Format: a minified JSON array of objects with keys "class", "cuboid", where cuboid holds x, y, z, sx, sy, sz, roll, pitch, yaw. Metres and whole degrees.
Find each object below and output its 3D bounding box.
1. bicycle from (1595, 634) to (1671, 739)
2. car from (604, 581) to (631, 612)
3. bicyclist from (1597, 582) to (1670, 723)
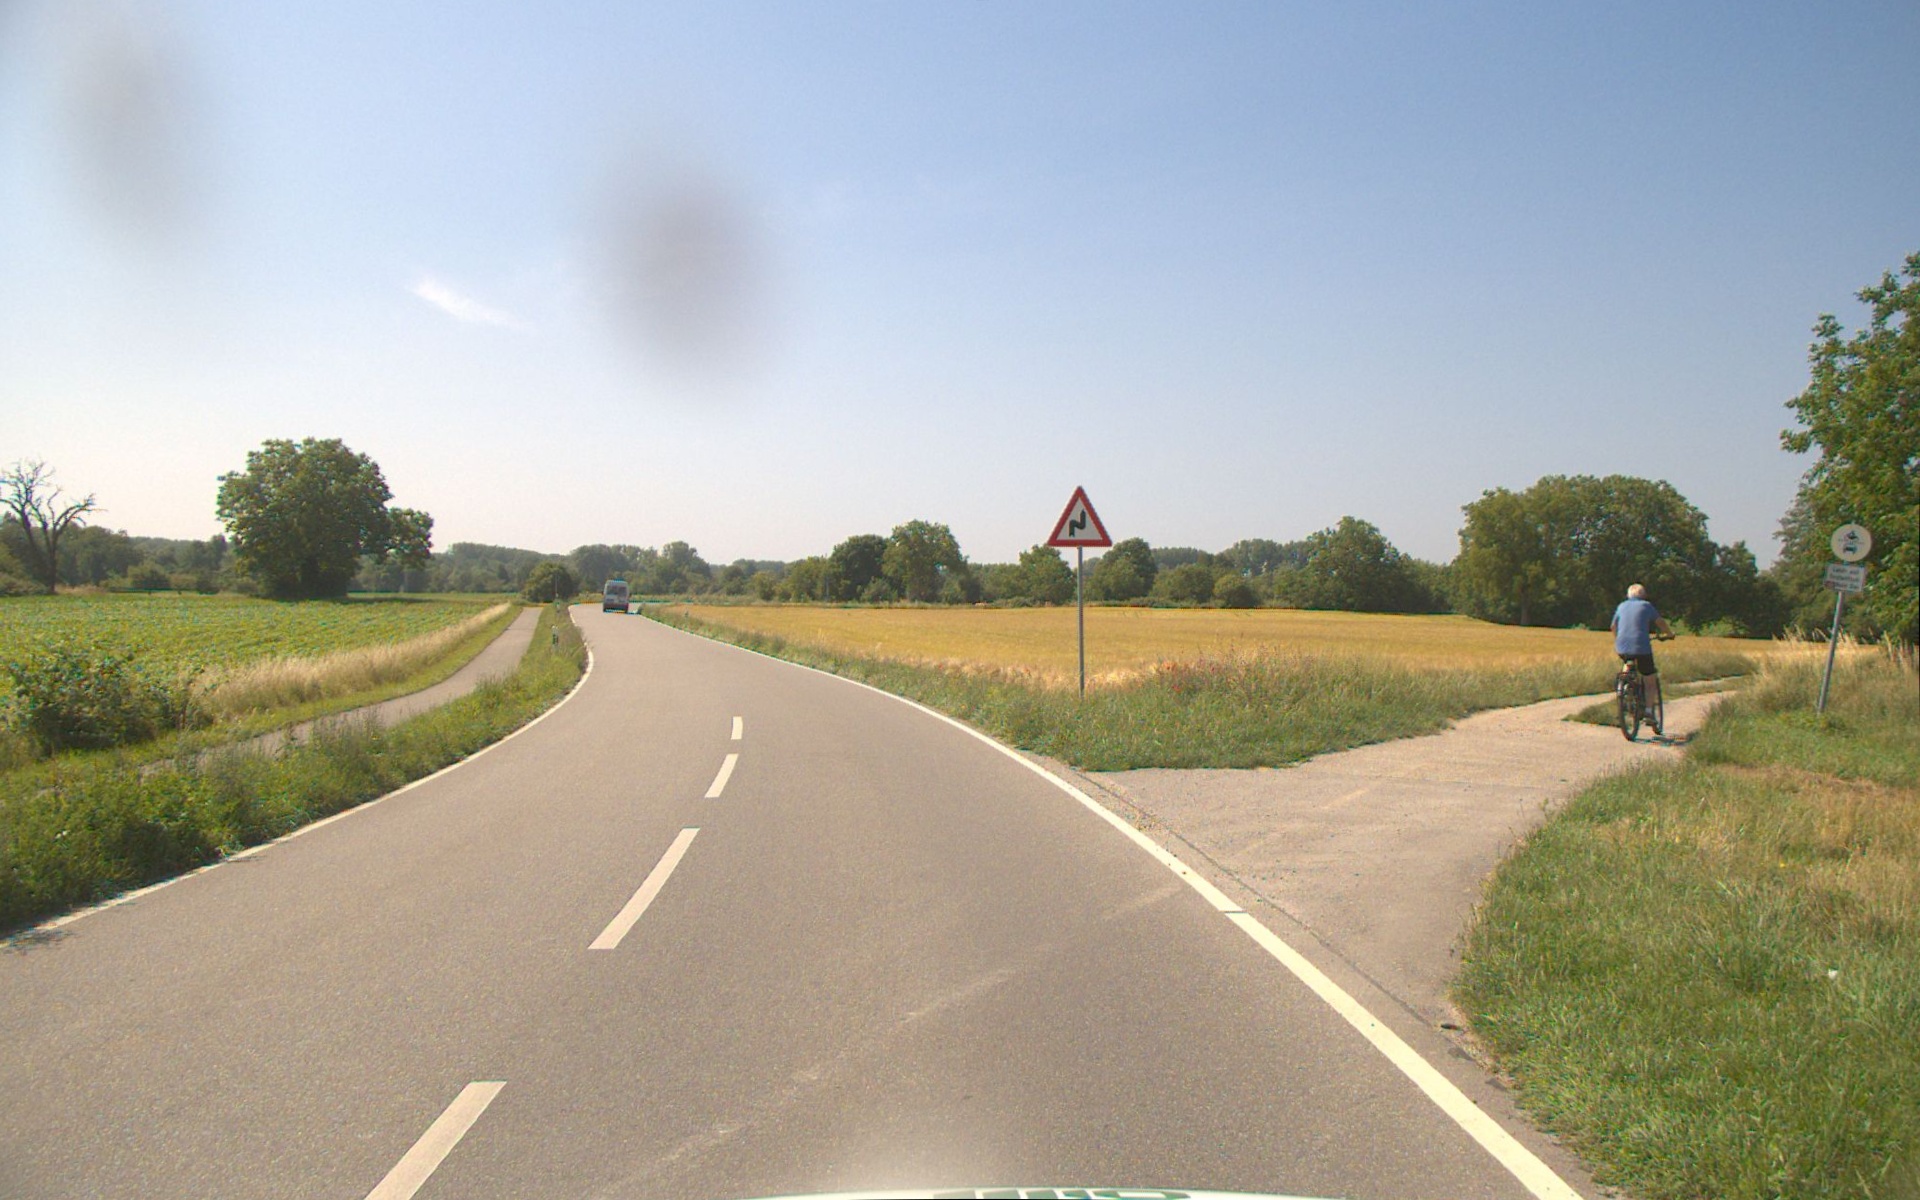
[{"class":"bicycle","cuboid":[7.847,0.978,19.259,0.511,1.135,1.764,0,0,32]},{"class":"car","cuboid":[-27.619,-0.275,133.203,2.067,2.408,5.668,0,0,-13]},{"class":"bicyclist","cuboid":[7.850,0.592,19.261,0.660,1.601,0.733,0,-1,33]}]
